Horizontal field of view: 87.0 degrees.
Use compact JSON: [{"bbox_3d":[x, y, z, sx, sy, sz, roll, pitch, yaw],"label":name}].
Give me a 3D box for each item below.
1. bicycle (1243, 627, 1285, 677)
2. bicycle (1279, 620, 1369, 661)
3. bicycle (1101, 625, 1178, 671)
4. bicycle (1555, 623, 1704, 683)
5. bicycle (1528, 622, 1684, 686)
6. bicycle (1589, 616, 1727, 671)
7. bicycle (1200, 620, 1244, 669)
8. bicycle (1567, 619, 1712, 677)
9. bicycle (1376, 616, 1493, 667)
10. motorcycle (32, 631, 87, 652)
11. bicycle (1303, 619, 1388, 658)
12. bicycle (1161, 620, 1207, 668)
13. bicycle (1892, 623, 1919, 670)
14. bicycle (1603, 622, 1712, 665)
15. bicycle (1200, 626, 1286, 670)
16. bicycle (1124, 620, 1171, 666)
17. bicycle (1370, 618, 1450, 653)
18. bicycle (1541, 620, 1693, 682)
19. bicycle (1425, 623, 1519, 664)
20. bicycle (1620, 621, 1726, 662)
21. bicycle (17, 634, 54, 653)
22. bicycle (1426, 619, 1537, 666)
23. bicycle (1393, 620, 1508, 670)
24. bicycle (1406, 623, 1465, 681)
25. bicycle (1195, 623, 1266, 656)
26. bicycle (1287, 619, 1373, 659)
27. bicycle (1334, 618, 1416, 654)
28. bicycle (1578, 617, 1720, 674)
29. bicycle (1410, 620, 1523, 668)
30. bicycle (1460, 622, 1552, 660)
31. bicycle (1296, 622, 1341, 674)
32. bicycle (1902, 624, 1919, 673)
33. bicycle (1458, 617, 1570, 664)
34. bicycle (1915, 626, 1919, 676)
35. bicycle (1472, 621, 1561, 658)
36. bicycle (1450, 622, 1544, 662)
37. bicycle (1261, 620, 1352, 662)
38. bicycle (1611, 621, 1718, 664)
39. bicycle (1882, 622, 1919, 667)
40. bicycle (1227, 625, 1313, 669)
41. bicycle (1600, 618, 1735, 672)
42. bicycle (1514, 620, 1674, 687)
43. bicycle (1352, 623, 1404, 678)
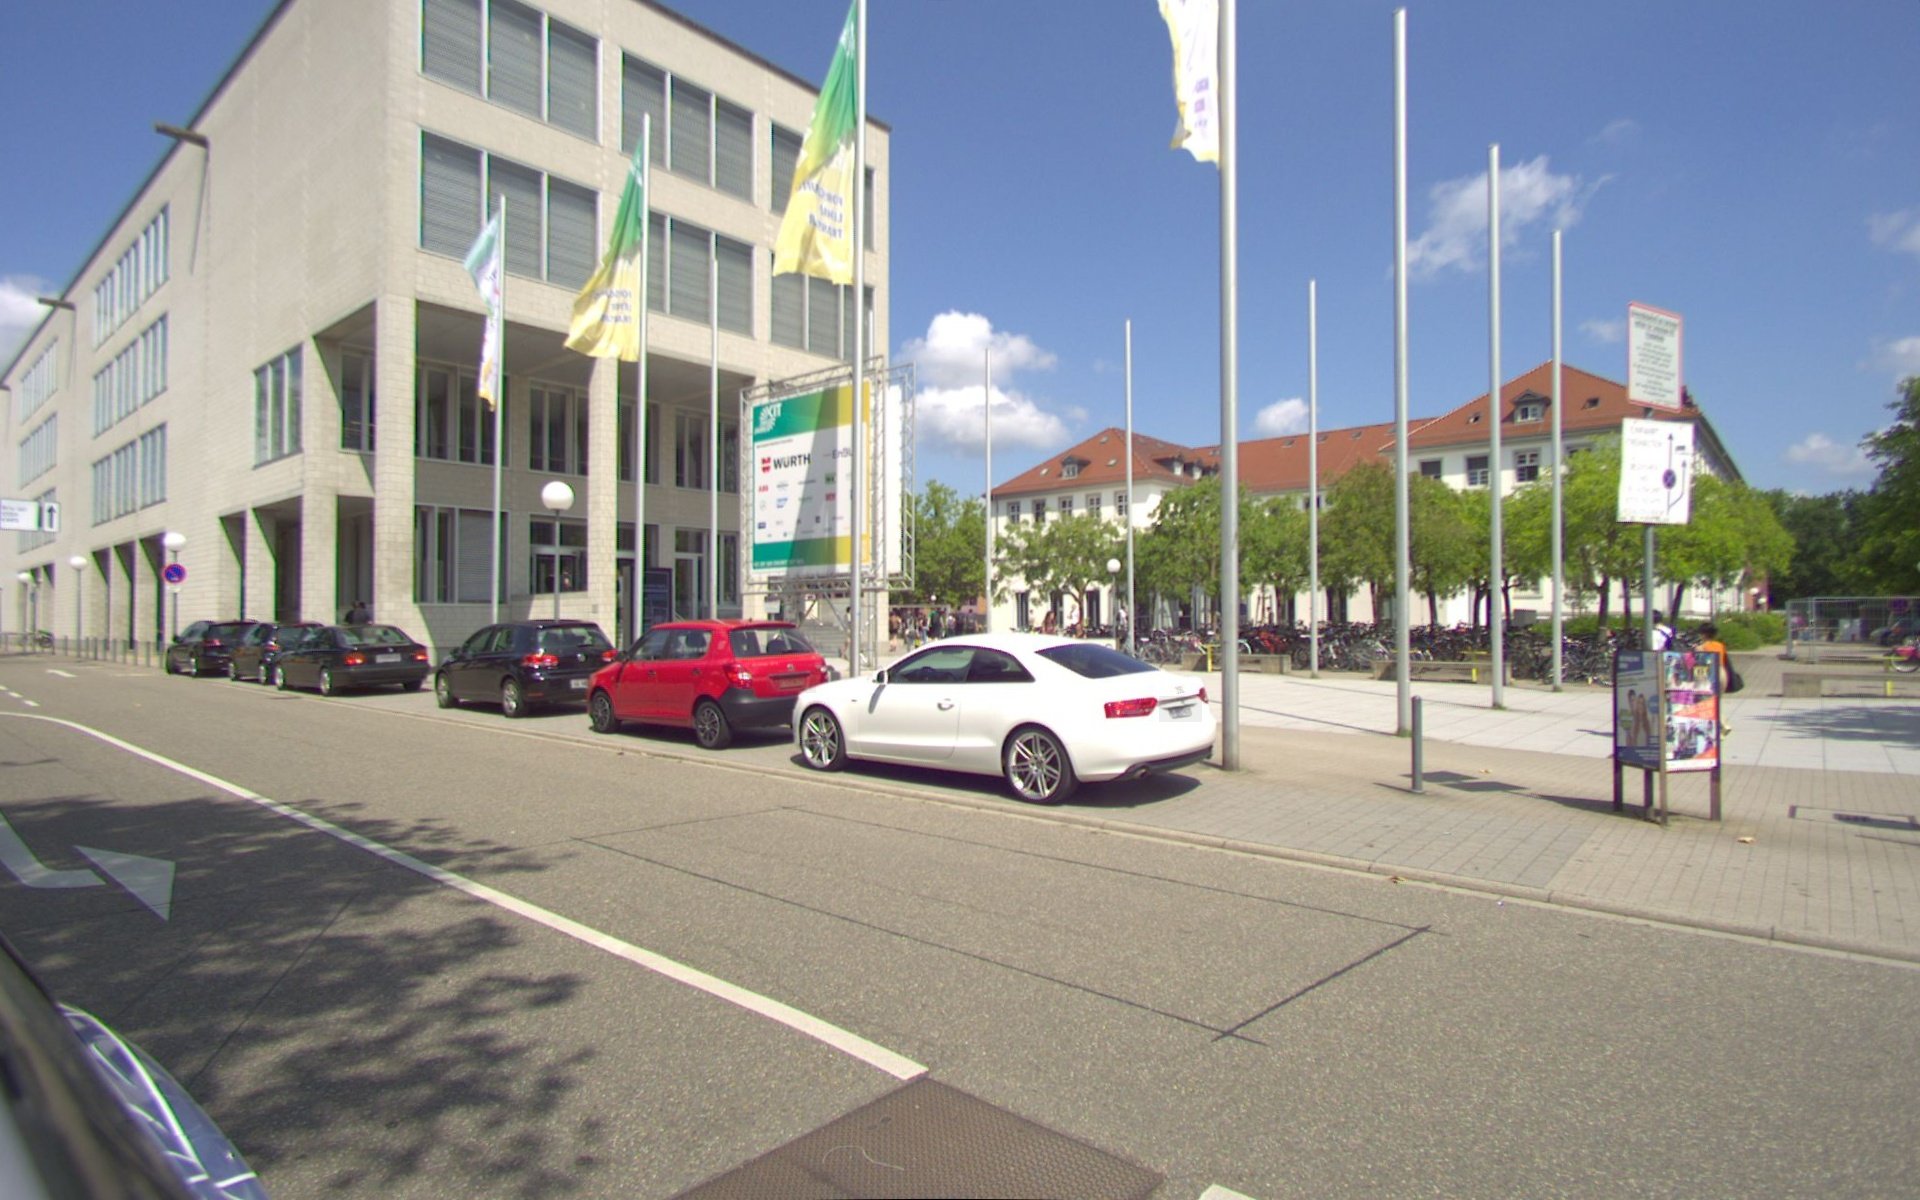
[{"bbox_3d":[9.383,1.568,31.183,1.139,1.422,2.933,-1,-1,18],"label":"bicycle"},{"bbox_3d":[13.141,1.441,36.665,1.048,1.422,2.957,0,-1,-38],"label":"bicycle"},{"bbox_3d":[5.042,1.327,28.485,2.094,1.225,0.642,-1,-1,42],"label":"bicycle"},{"bbox_3d":[16.803,1.289,25.474,1.002,1.422,2.954,0,-1,-44],"label":"bicycle"},{"bbox_3d":[15.278,1.234,24.007,1.002,1.427,2.954,0,-1,-44],"label":"bicycle"},{"bbox_3d":[19.105,1.161,27.758,1.050,1.422,2.954,0,-1,-44],"label":"bicycle"},{"bbox_3d":[8.199,1.357,31.548,1.139,1.422,2.933,-1,-1,18],"label":"bicycle"},{"bbox_3d":[17.557,1.209,26.210,1.050,1.422,2.954,0,-1,-44],"label":"bicycle"},{"bbox_3d":[13.976,1.202,29.896,1.049,1.422,2.956,0,-1,-41],"label":"bicycle"},{"bbox_3d":[-50.544,2.345,56.832,0.772,1.146,2.150,-1,-2,31],"label":"motorcycle"},{"bbox_3d":[14.851,1.458,39.057,1.048,1.422,2.957,0,-1,-38],"label":"bicycle"},{"bbox_3d":[7.173,1.379,32.310,1.139,1.422,2.933,-1,-1,18],"label":"bicycle"},{"bbox_3d":[24.976,1.146,24.832,2.943,1.146,0.989,-1,-1,34],"label":"bicycle"},{"bbox_3d":[24.015,1.475,34.898,1.050,1.422,2.954,0,-1,-44],"label":"bicycle"},{"bbox_3d":[9.776,1.621,35.117,1.128,1.422,2.961,0,-1,-27],"label":"bicycle"},{"bbox_3d":[6.213,1.405,33.437,1.139,1.422,2.933,-1,-1,18],"label":"bicycle"},{"bbox_3d":[19.121,1.474,43.060,1.049,1.422,2.956,0,-1,-41],"label":"bicycle"},{"bbox_3d":[16.021,1.205,24.755,1.002,1.422,2.954,0,-1,-44],"label":"bicycle"},{"bbox_3d":[18.767,1.561,37.163,1.047,1.422,2.960,0,-1,-30],"label":"bicycle"},{"bbox_3d":[25.719,1.482,36.561,1.050,1.422,2.954,0,-1,-44],"label":"bicycle"},{"bbox_3d":[-57.413,2.709,62.844,0.607,1.095,1.624,-2,-1,35],"label":"bicycle"},{"bbox_3d":[16.524,1.324,32.146,1.049,1.422,2.956,0,-1,-41],"label":"bicycle"},{"bbox_3d":[14.827,1.336,30.680,1.049,1.422,2.956,0,-1,-41],"label":"bicycle"},{"bbox_3d":[12.588,1.331,26.885,1.057,1.422,2.933,-1,-1,18],"label":"bicycle"},{"bbox_3d":[12.141,1.750,45.561,1.130,1.422,2.955,0,-1,-41],"label":"bicycle"},{"bbox_3d":[13.983,1.457,38.355,1.048,1.422,2.957,0,-1,-38],"label":"bicycle"},{"bbox_3d":[17.145,1.477,41.876,1.049,1.422,2.956,0,-1,-41],"label":"bicycle"},{"bbox_3d":[18.323,1.176,26.993,1.050,1.422,2.954,0,-1,-44],"label":"bicycle"},{"bbox_3d":[15.671,1.339,31.410,1.049,1.422,2.956,0,-1,-41],"label":"bicycle"},{"bbox_3d":[21.102,1.571,39.154,2.949,1.422,1.051,-1,-1,40],"label":"bicycle"},{"bbox_3d":[10.441,1.363,29.565,1.139,1.422,2.933,-1,-1,18],"label":"bicycle"},{"bbox_3d":[24.395,1.159,23.946,2.943,1.156,0.989,-1,-1,34],"label":"bicycle"},{"bbox_3d":[17.744,1.277,32.498,1.049,1.422,2.956,0,-1,-41],"label":"bicycle"},{"bbox_3d":[23.628,1.172,22.783,2.943,1.156,0.989,-1,-1,34],"label":"bicycle"},{"bbox_3d":[22.442,1.578,40.851,2.949,1.422,1.198,-1,-1,40],"label":"bicycle"},{"bbox_3d":[20.150,1.559,37.993,2.949,1.422,1.051,-1,-1,40],"label":"bicycle"},{"bbox_3d":[12.283,1.439,35.960,1.048,1.422,2.957,0,-1,-38],"label":"bicycle"},{"bbox_3d":[24.863,1.479,35.770,1.050,1.422,2.954,0,-1,-44],"label":"bicycle"},{"bbox_3d":[25.636,1.134,25.844,2.943,1.158,0.990,-1,-1,34],"label":"bicycle"},{"bbox_3d":[10.864,1.617,35.620,1.128,1.422,2.961,0,-1,-27],"label":"bicycle"},{"bbox_3d":[19.902,1.238,28.545,1.050,1.422,2.954,0,-1,-44],"label":"bicycle"},{"bbox_3d":[14.528,1.193,23.269,1.002,1.430,2.954,0,-1,-44],"label":"bicycle"},{"bbox_3d":[11.789,1.392,28.637,1.139,1.422,2.933,-1,-1,18],"label":"bicycle"}]
